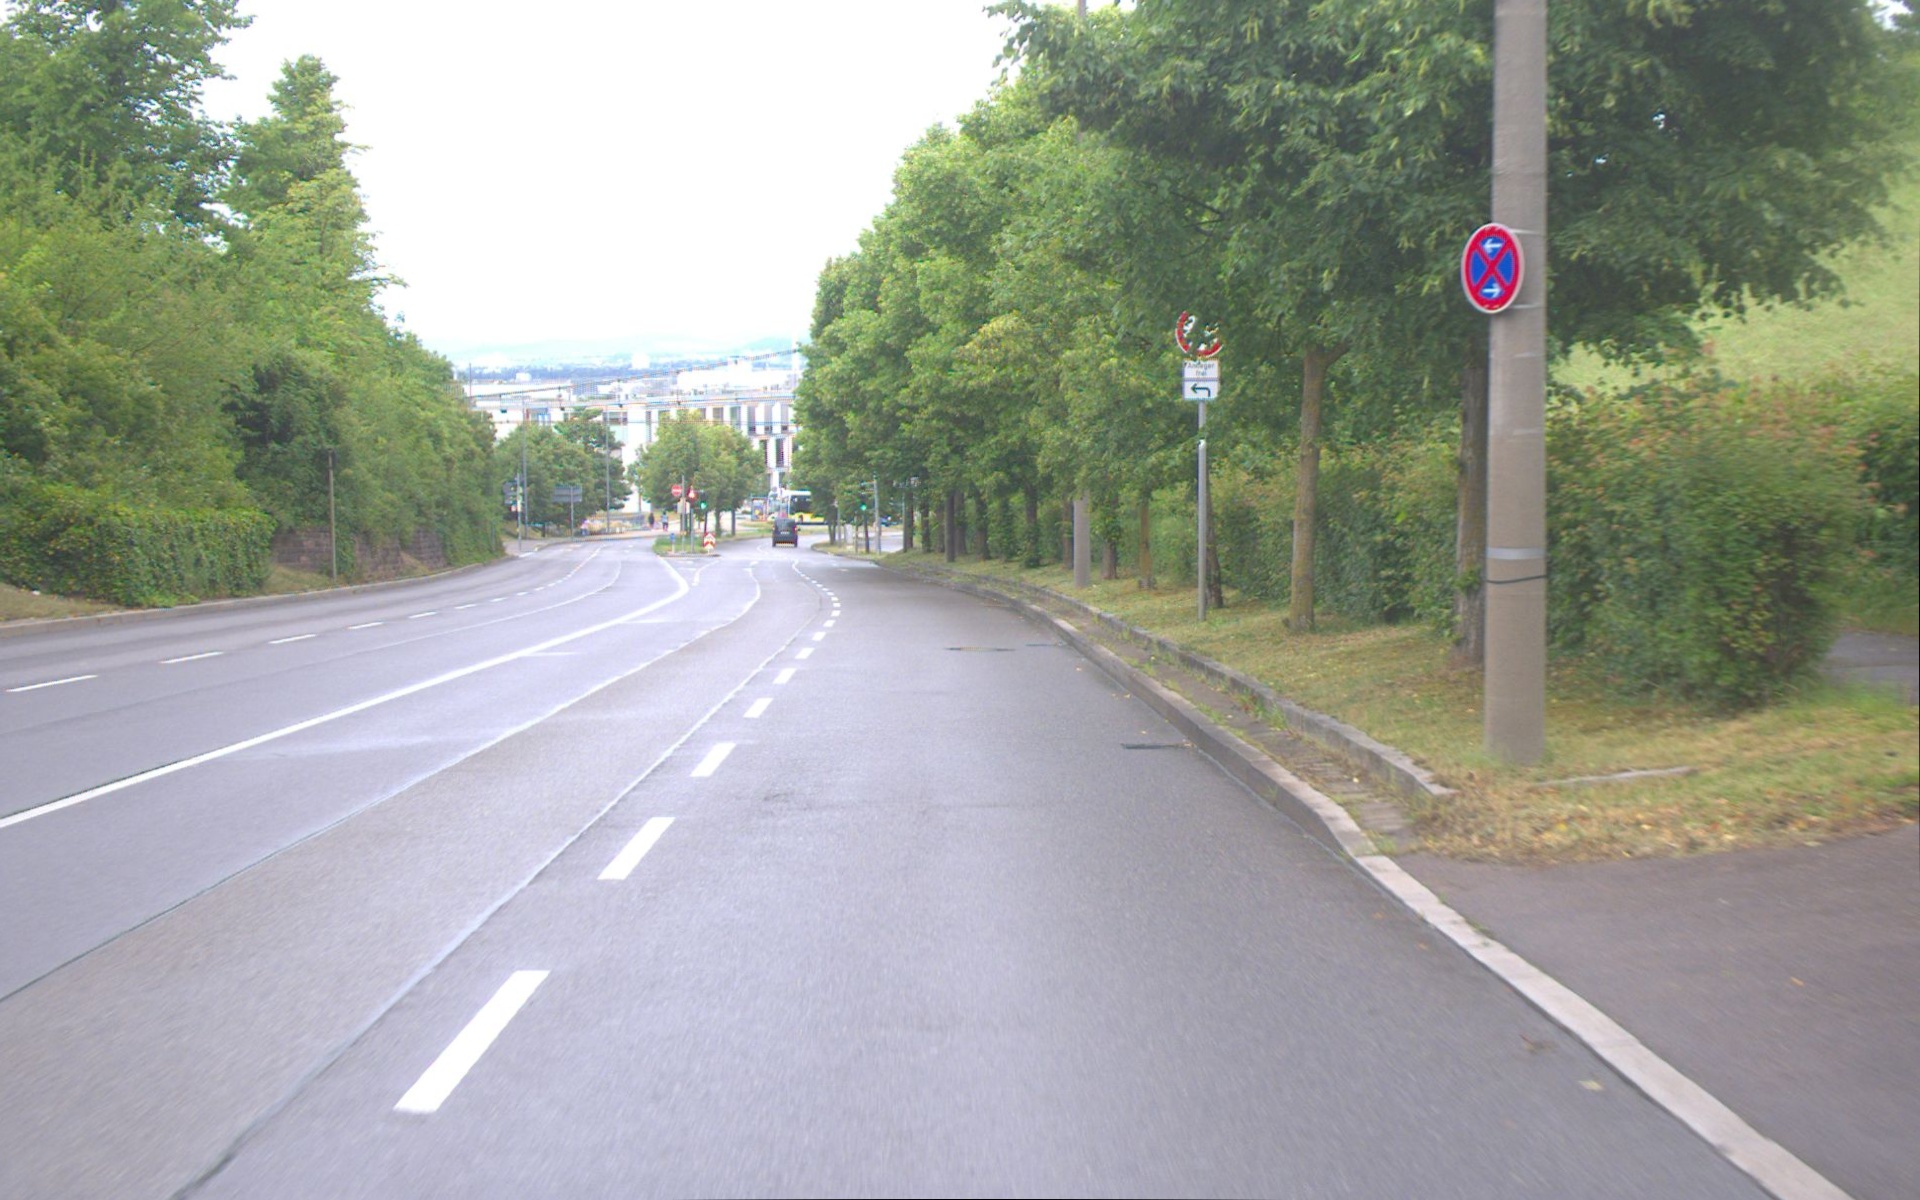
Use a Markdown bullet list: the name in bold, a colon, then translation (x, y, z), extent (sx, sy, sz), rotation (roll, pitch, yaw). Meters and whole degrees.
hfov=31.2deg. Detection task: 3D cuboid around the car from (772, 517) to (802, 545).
- **car**: translation (-11.297, -4.493, 224.736), extent (1.849, 1.696, 3.793), rotation (2, 0, -2)
